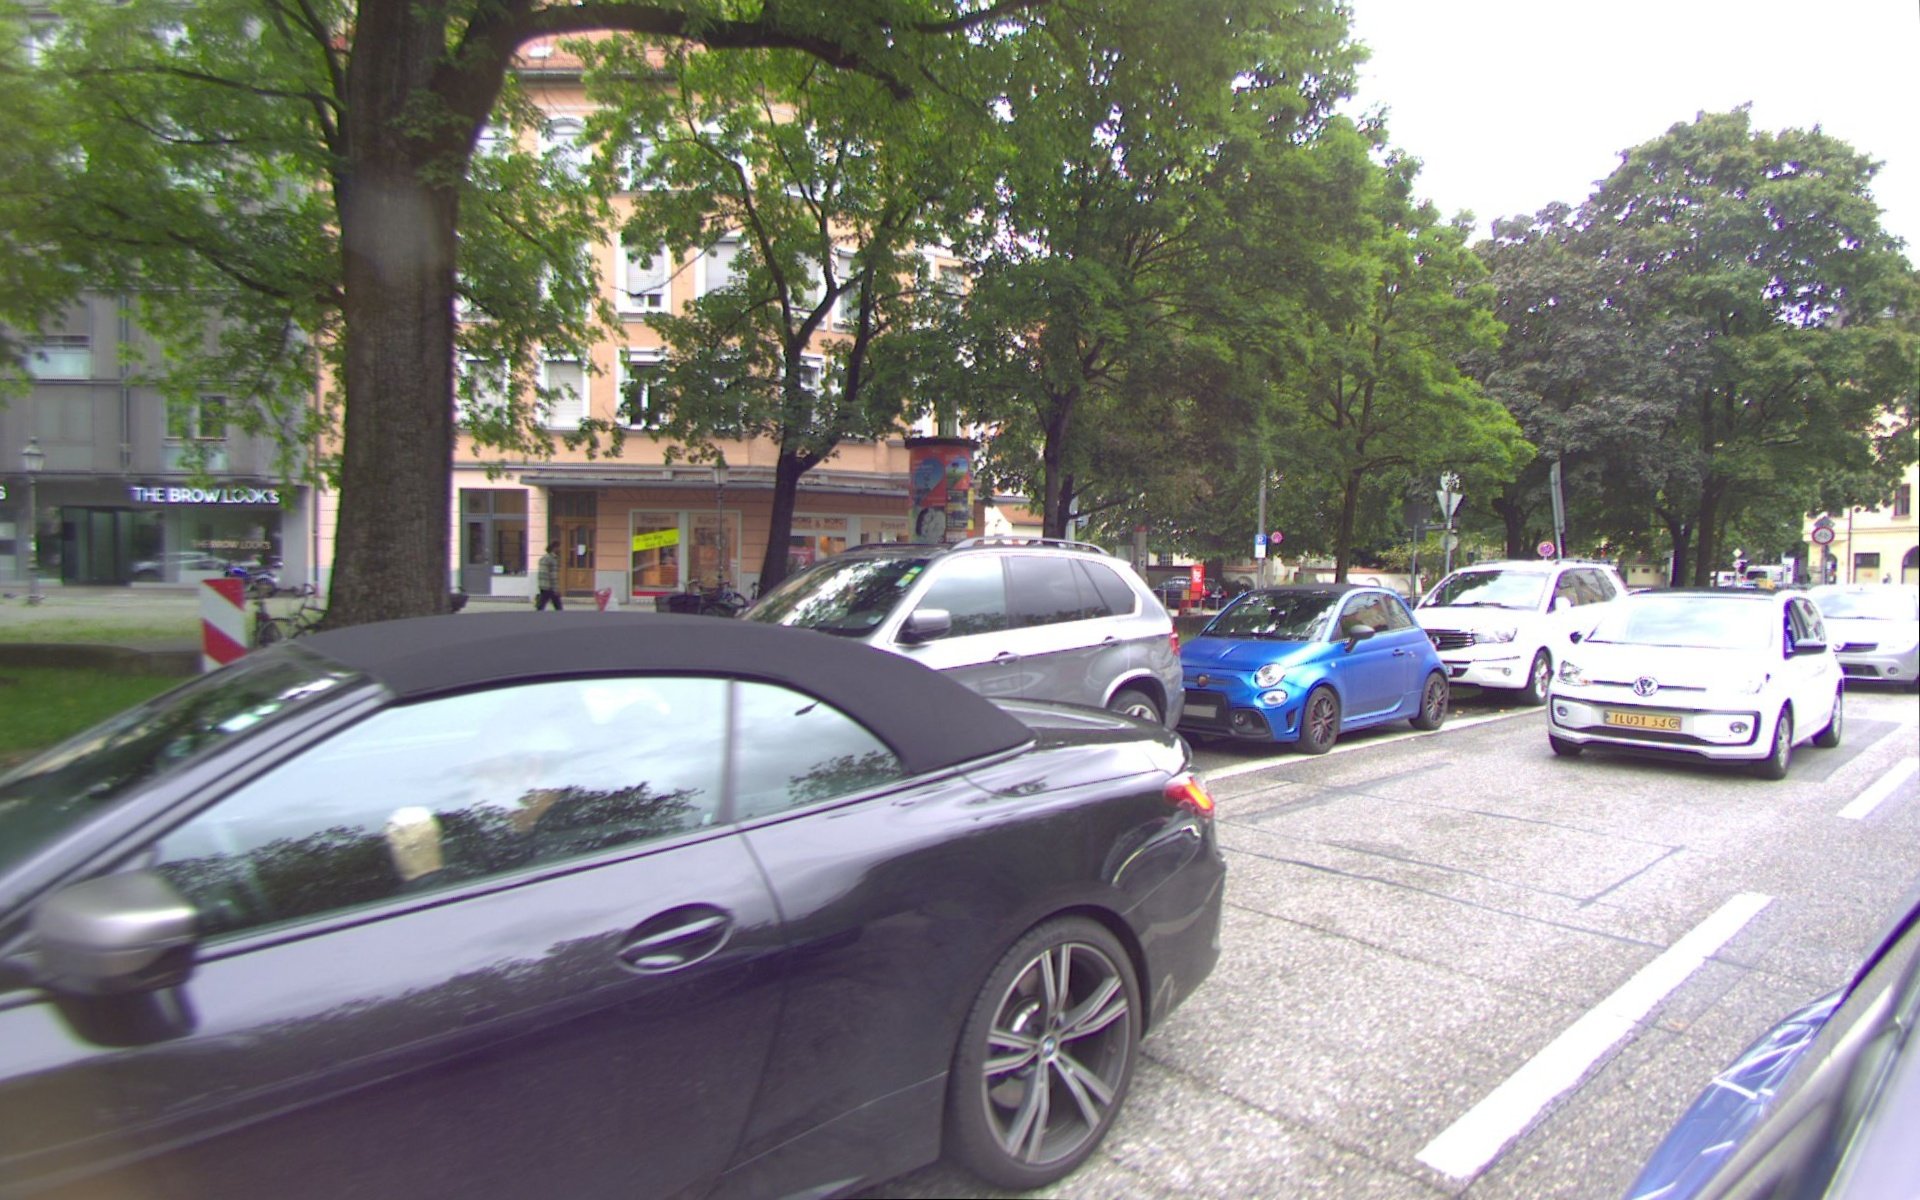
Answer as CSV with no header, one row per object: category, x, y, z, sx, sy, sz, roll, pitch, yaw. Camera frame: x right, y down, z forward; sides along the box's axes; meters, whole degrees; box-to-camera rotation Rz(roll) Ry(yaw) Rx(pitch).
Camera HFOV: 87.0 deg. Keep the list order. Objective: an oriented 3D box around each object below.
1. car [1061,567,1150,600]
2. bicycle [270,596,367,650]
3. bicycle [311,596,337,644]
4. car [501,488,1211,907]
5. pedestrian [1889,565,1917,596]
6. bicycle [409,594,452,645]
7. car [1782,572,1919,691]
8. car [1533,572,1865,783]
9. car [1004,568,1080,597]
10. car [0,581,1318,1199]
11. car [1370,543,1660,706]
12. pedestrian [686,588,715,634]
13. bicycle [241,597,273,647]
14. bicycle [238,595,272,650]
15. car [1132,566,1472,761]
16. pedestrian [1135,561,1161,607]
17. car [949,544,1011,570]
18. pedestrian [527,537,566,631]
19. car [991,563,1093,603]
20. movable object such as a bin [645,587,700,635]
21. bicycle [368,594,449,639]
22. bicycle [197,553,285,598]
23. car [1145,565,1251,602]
car,6.881,-0.774,48.267,1.824,1.485,4.447,-1,1,-31
bicycle,-9.296,0.319,14.694,1.155,0.732,0.319,-1,1,-30
bicycle,-10.207,0.301,16.252,0.313,0.732,1.180,-1,1,-31
car,-0.385,0.368,6.713,4.480,1.842,1.933,-1,2,-45
pedestrian,61.102,-1.265,65.563,0.860,2.039,1.010,-1,1,-9
bicycle,-8.163,0.283,15.637,0.312,0.732,1.181,-1,1,-14
car,13.680,0.380,15.034,3.820,1.549,1.647,-1,2,-41
car,6.696,0.515,9.045,3.557,1.483,1.647,-1,2,-41
car,4.333,-0.950,54.361,1.824,1.485,4.447,-1,1,-31
car,-1.228,0.679,2.319,4.714,1.406,1.727,-1,2,-40
car,7.755,0.222,13.912,4.935,1.879,1.847,-1,2,-40
pedestrian,-5.400,0.217,21.064,0.479,0.937,0.379,0,1,40
bicycle,-10.766,0.325,15.509,0.313,0.732,1.180,-1,1,-31
bicycle,-10.023,0.306,14.408,0.313,0.732,1.180,-1,1,-31
car,3.458,0.477,9.945,3.597,1.568,1.523,-1,2,-40
pedestrian,6.607,-0.565,35.585,0.632,1.571,0.603,-1,1,-34
car,1.196,-2.671,62.802,1.824,1.485,4.447,-1,1,-30
pedestrian,-8.551,-0.336,20.966,0.617,1.926,0.630,-1,1,-12
car,3.231,-0.685,40.734,1.824,1.485,4.447,-1,1,-31
movable object such as a bin,-5.799,0.206,20.379,0.759,0.883,1.182,0,2,-32
bicycle,-9.341,0.269,17.169,1.154,0.732,0.320,-1,1,-18
bicycle,-21.409,-0.723,30.156,2.204,1.305,0.507,-1,1,-4
car,10.068,-0.716,43.162,1.824,1.485,4.447,-1,1,-31
